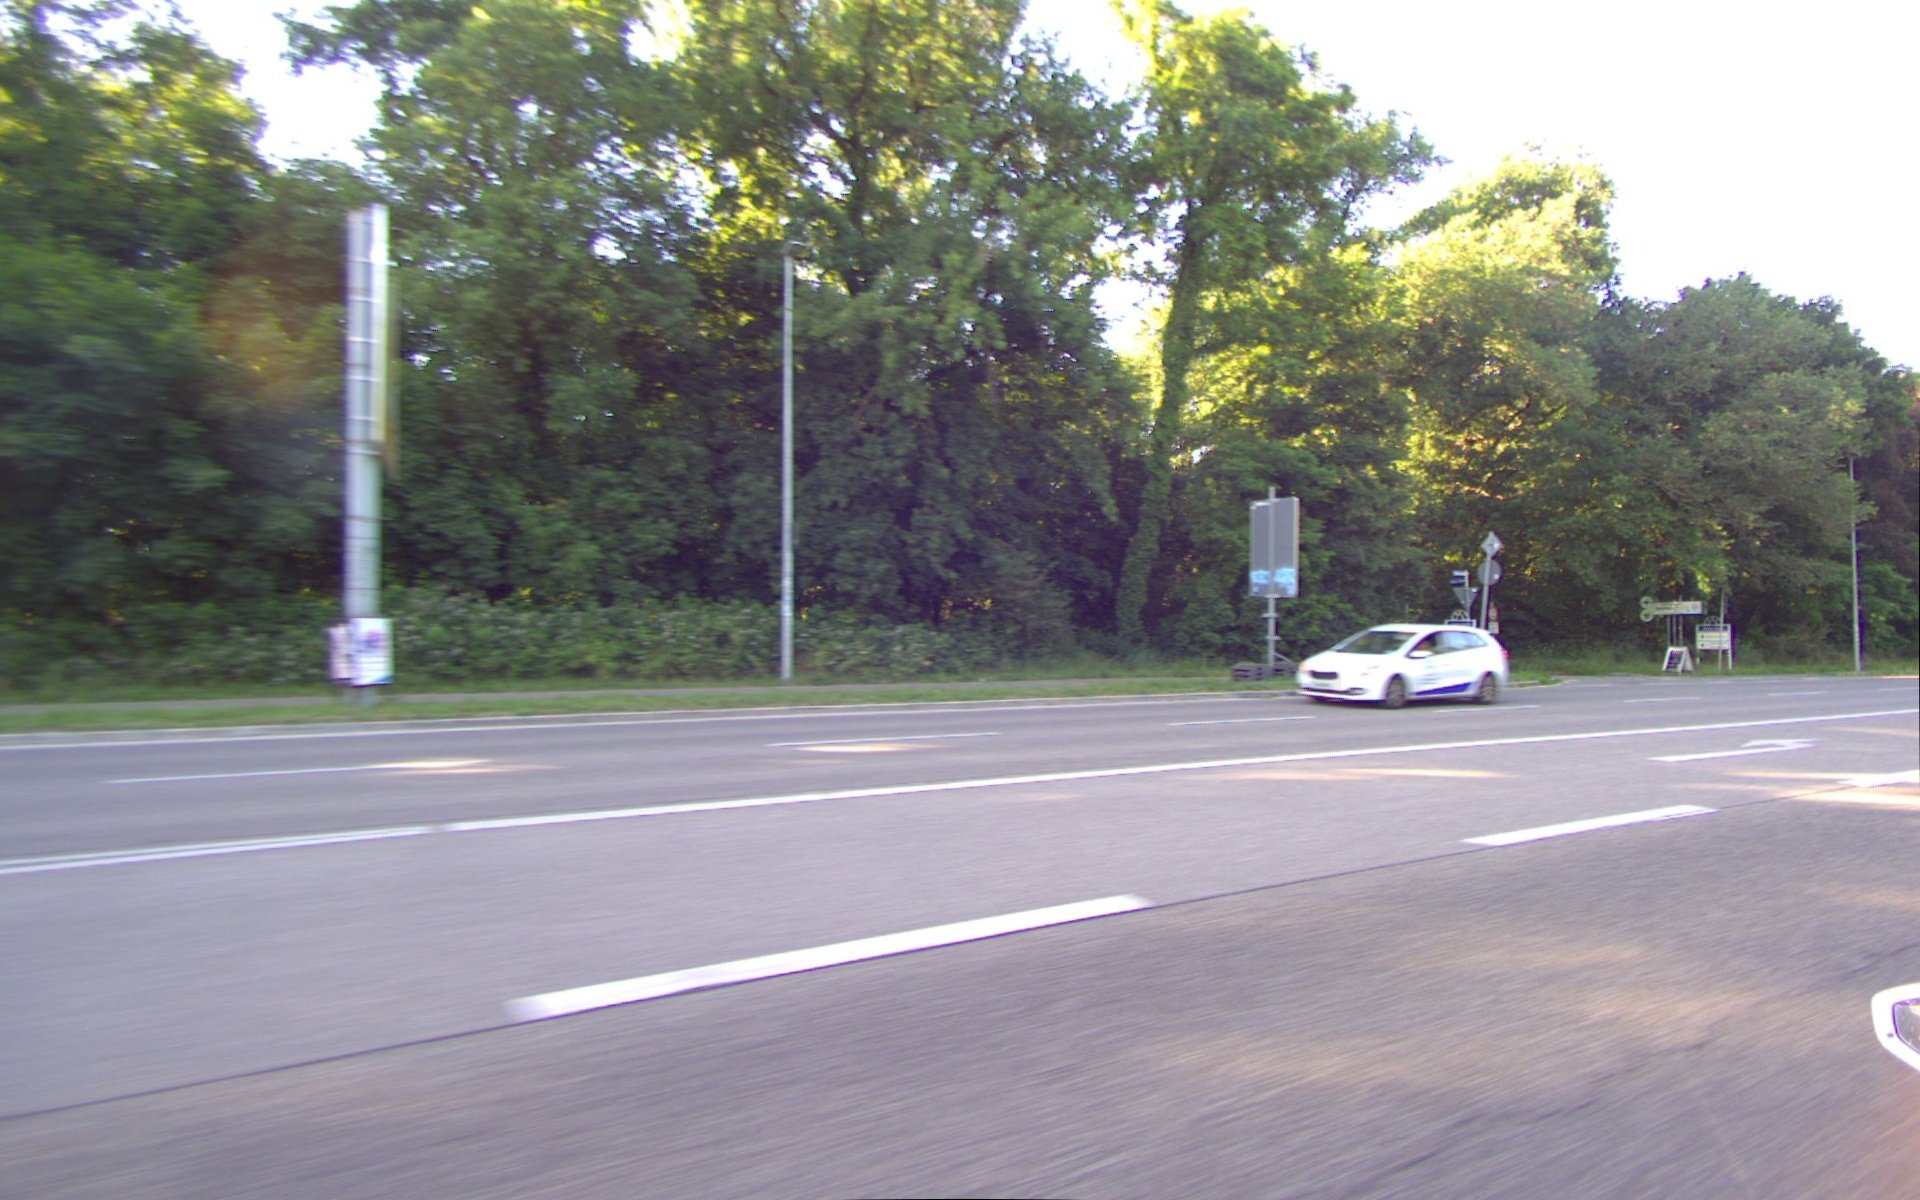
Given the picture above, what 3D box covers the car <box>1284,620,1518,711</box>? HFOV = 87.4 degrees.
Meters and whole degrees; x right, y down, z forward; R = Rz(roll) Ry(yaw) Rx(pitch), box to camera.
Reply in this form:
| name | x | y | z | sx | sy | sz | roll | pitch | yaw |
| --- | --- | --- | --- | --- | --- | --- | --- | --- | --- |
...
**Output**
| name | x | y | z | sx | sy | sz | roll | pitch | yaw |
| --- | --- | --- | --- | --- | --- | --- | --- | --- | --- |
| car | 8.245 | 1.162 | 18.716 | 4.254 | 1.524 | 1.817 | 1 | -1 | -29 |
